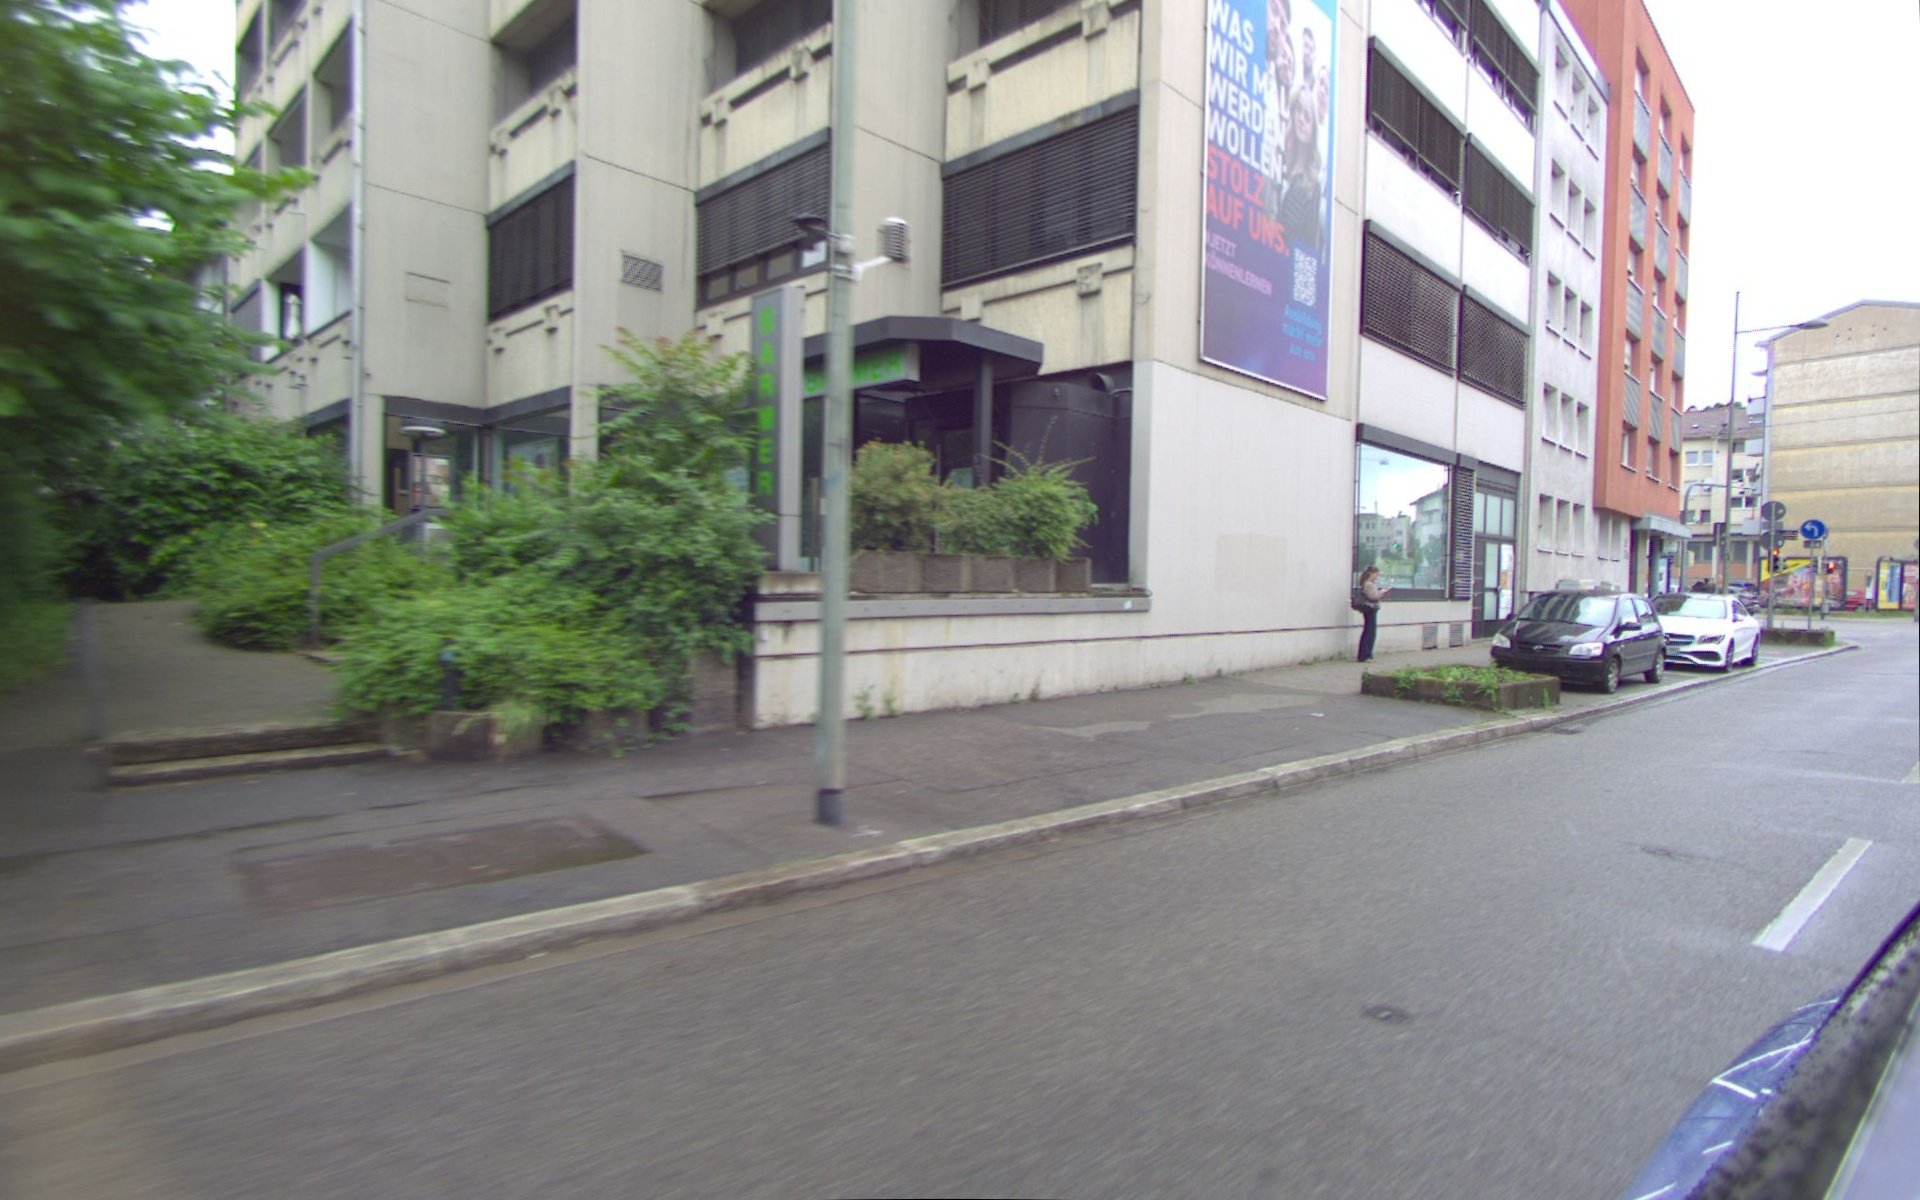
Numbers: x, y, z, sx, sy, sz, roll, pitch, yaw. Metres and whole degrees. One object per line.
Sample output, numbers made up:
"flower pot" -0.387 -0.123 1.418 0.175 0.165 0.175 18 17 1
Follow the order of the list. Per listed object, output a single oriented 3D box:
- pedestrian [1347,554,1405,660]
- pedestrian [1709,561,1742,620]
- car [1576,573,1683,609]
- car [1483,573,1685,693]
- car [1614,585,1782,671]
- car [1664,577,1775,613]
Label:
"pedestrian" 6.924 0.100 16.843 0.598 1.679 0.681 6 4 42
"pedestrian" 28.796 -0.353 38.063 0.797 2.180 0.732 2 1 26
"car" 32.802 -0.460 49.647 1.803 1.641 3.999 0 2 -37
"car" 9.830 0.424 15.839 3.741 1.577 1.705 -1 4 -43
"car" 14.667 0.462 20.022 4.493 1.437 1.833 0 3 -43
"car" 37.520 -0.285 50.065 1.802 1.641 4.001 0 2 -35
